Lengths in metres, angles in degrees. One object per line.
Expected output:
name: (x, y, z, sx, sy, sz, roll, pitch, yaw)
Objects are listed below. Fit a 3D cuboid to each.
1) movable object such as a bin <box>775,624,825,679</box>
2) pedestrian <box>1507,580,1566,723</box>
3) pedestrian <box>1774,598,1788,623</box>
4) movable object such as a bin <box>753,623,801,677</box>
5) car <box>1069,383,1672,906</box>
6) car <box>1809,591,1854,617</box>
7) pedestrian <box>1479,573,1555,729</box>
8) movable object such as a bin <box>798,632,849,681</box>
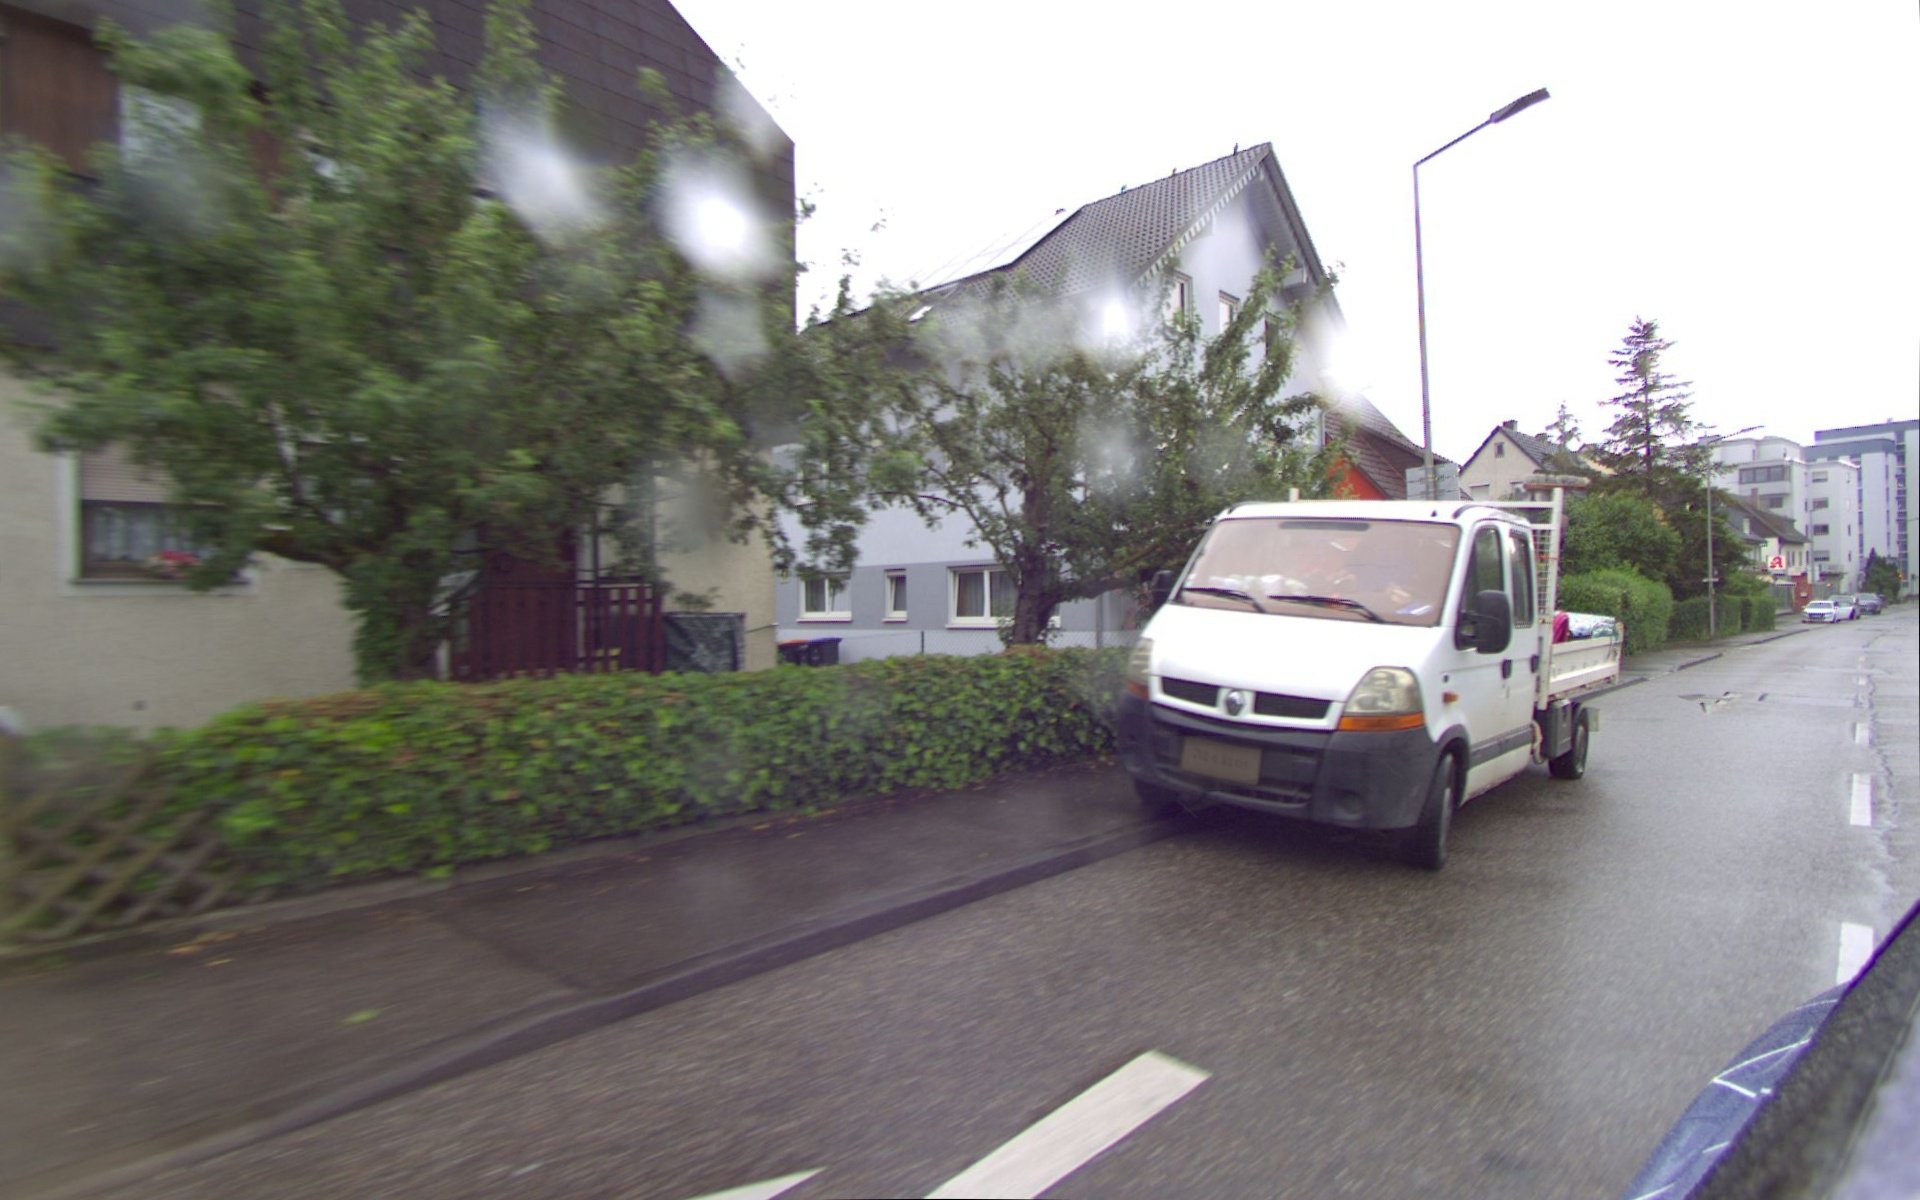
movable object such as a bin: (-3.687, 1.167, 23.278, 0.878, 1.215, 0.779, -1, -1, 45)
pedestrian: (7.188, 0.612, 12.605, 0.572, 1.684, 0.933, 1, 0, 31)
pedestrian: (55.294, 0.691, 68.184, 0.694, 1.652, 0.611, -1, -1, 42)
movable object such as a bin: (-4.311, 1.168, 23.841, 0.878, 1.215, 0.779, -1, -1, 45)
car: (3.679, 0.191, 7.940, 2.390, 2.463, 6.334, 0, 0, 42)
car: (58.278, 0.263, 67.636, 3.640, 1.653, 1.909, 0, 0, -43)
pedestrian: (6.543, 0.565, 11.880, 0.706, 1.728, 0.882, 1, 0, 32)
movable object such as a bin: (-3.045, 1.246, 22.572, 0.878, 1.043, 0.779, -1, -1, 45)
